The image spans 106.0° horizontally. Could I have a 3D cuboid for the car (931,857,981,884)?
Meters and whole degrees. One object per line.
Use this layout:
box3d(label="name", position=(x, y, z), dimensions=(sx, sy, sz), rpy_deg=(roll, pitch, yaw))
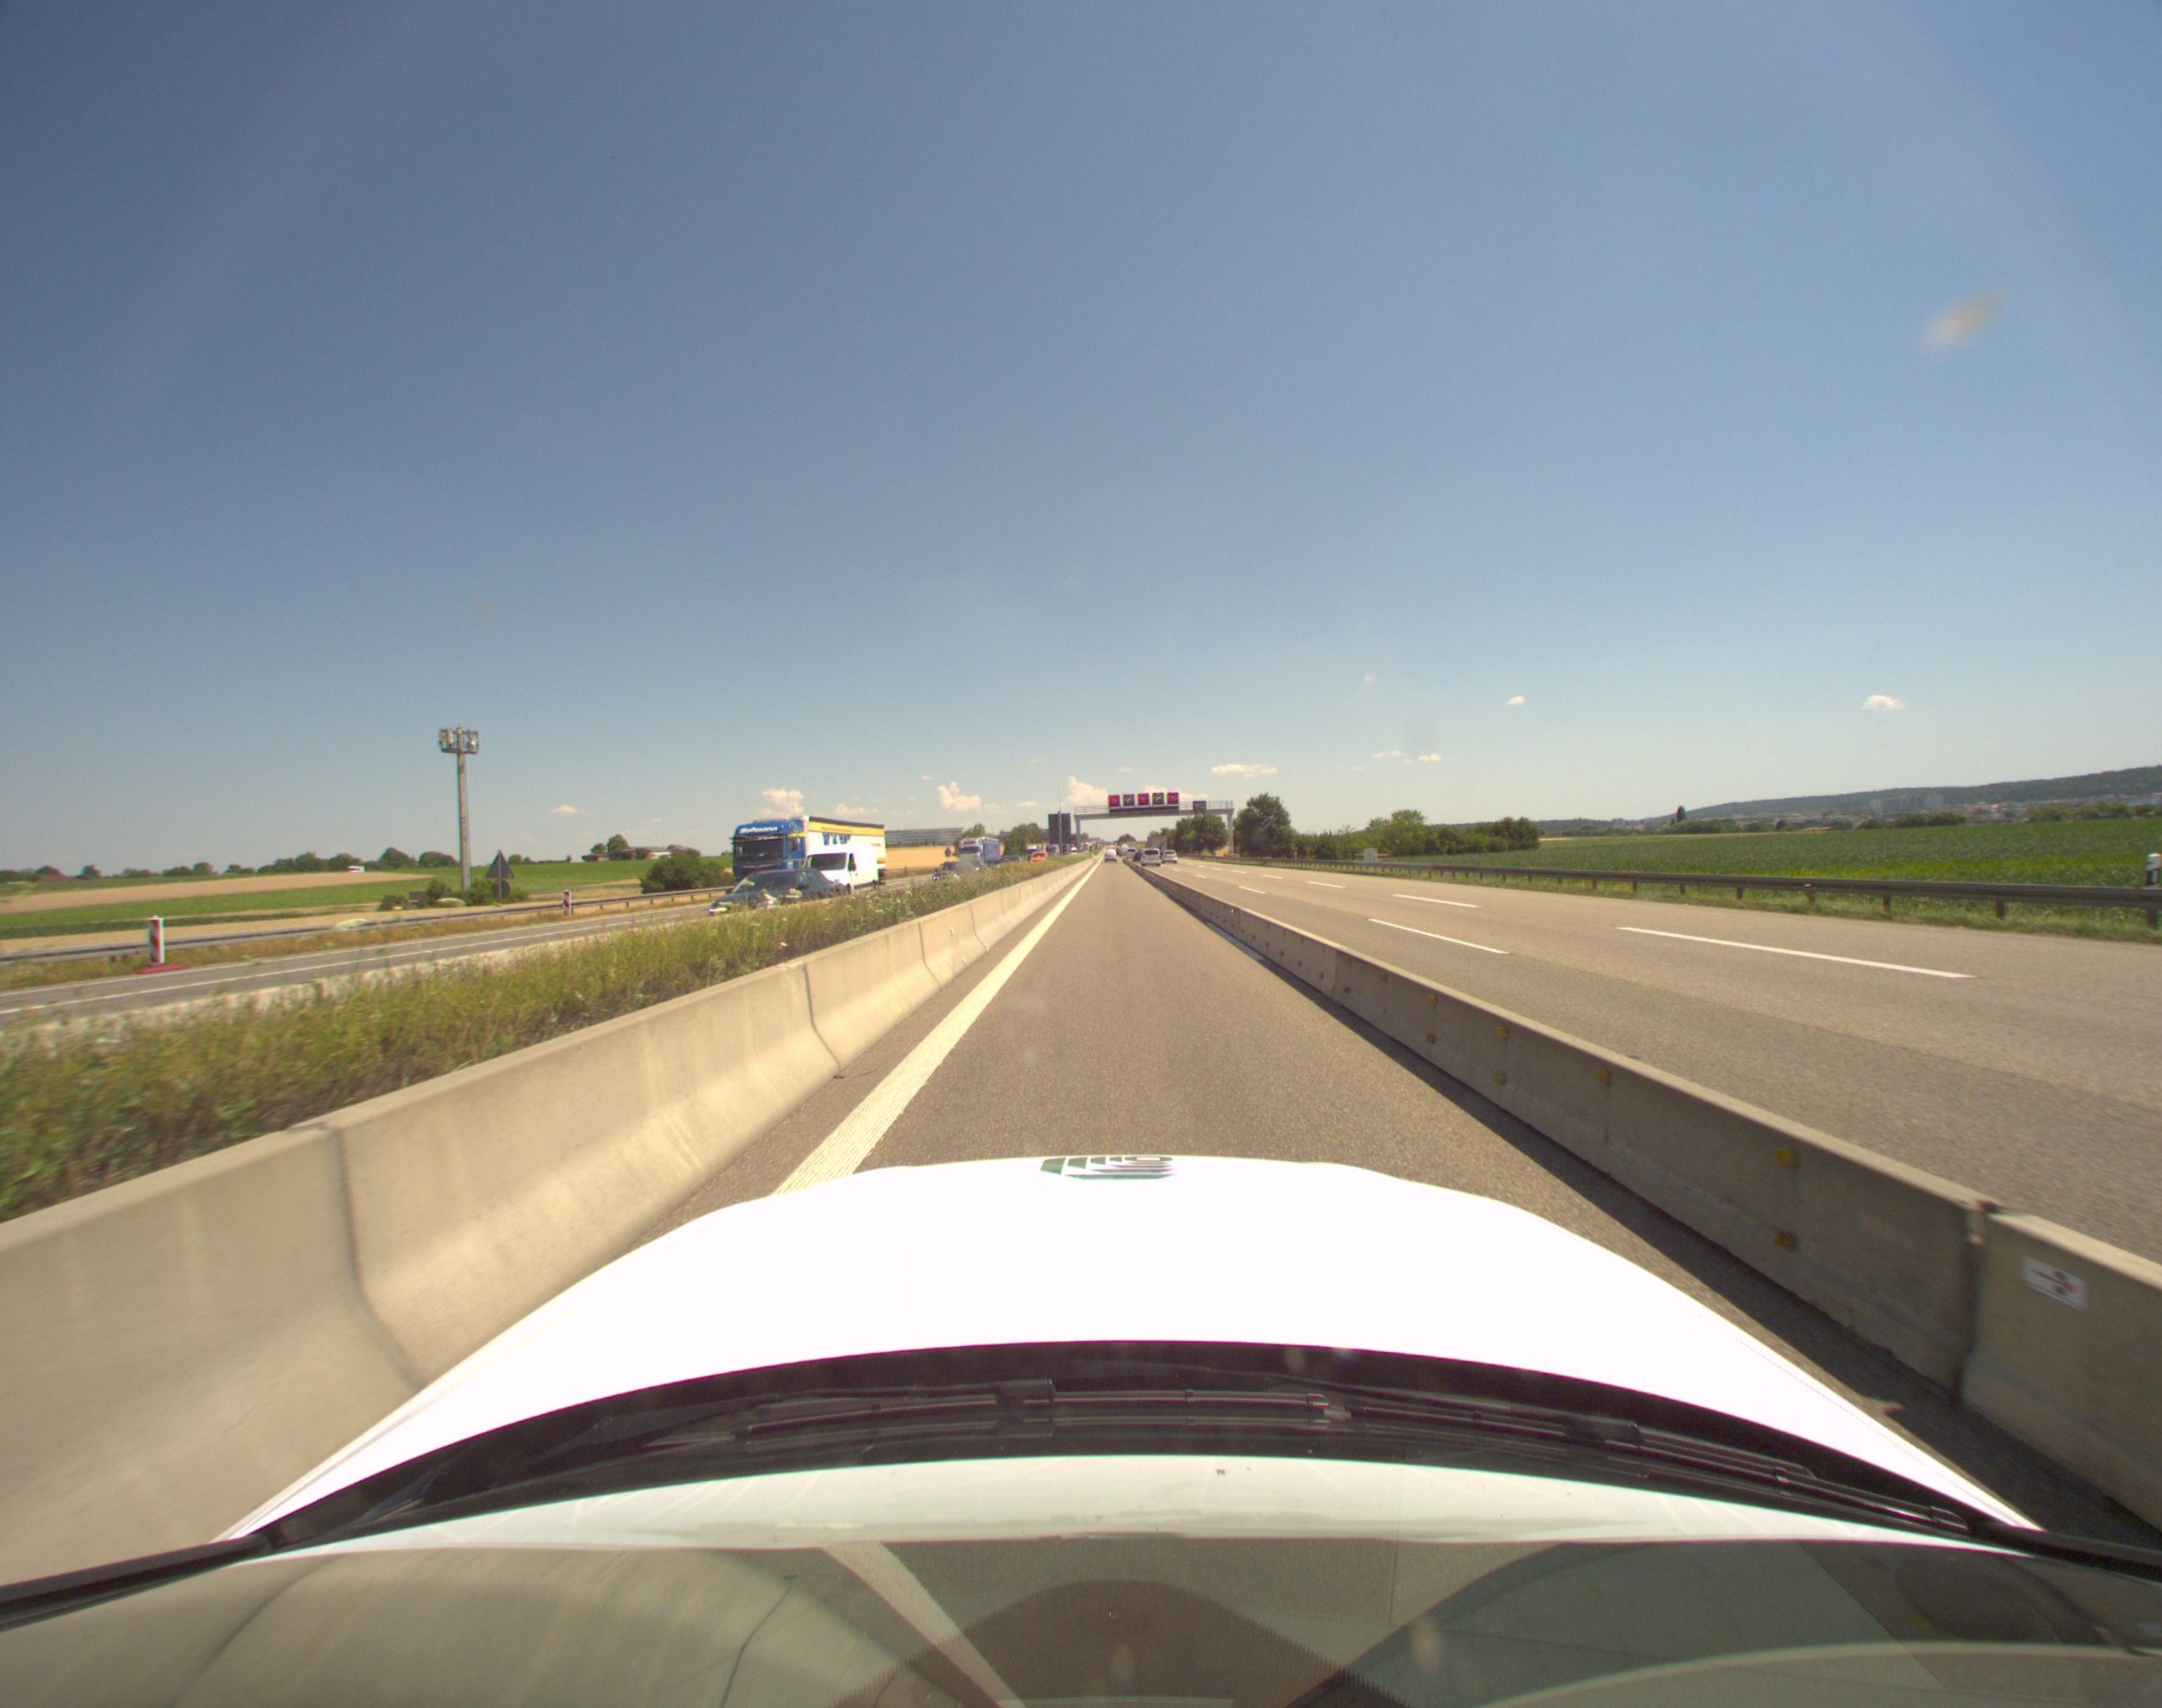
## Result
box3d(label="car", position=(-6.647, 0.886, 43.752), dimensions=(1.772, 1.335, 4.931), rpy_deg=(-1, -1, 1))

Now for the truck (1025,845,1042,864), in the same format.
box3d(label="truck", position=(-9.581, 0.133, 164.984), dimensions=(2.687, 3.587, 4.003), rpy_deg=(-4, 0, 3))

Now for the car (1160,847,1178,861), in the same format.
box3d(label="car", position=(11.166, 0.020, 103.630), dimensions=(1.986, 1.794, 4.001), rpy_deg=(-2, -1, 2))

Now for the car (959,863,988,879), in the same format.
box3d(label="car", position=(-9.185, 1.458, 69.915), dimensions=(1.741, 1.266, 4.435), rpy_deg=(-1, -1, 1))

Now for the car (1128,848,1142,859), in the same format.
box3d(label="car", position=(7.339, -0.098, 111.723), dimensions=(1.767, 1.447, 4.001), rpy_deg=(-2, -1, 2))

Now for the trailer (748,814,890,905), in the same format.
box3d(label="trailer", position=(-13.894, 0.247, 45.109), dimensions=(2.799, 4.128, 14.134), rpy_deg=(-3, 0, 2))

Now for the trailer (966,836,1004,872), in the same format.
box3d(label="trailer", position=(-11.876, -0.043, 101.886), dimensions=(2.377, 4.086, 14.105), rpy_deg=(-2, 0, 2))

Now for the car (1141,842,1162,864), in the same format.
box3d(label="car", position=(7.404, -0.087, 85.853), dimensions=(1.986, 2.120, 4.001), rpy_deg=(-2, -1, 2))

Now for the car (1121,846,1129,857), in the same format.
box3d(label="car", position=(10.181, -0.605, 189.334), dimensions=(1.767, 2.392, 4.001), rpy_deg=(-2, -1, 2))

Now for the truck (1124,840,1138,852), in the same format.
box3d(label="truck", position=(16.192, -2.528, 264.244), dimensions=(3.802, 3.904, 9.583), rpy_deg=(-2, 0, 2))

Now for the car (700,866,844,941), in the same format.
box3d(label="car", position=(-7.271, 1.095, 19.713), dimensions=(1.592, 1.469, 4.534), rpy_deg=(-3, 0, 1))

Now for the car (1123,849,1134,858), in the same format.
box3d(label="car", position=(8.487, -0.092, 145.796), dimensions=(1.767, 1.447, 4.001), rpy_deg=(-2, -1, 2))

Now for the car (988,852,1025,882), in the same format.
box3d(label="car", position=(-5.449, 0.938, 60.088), dimensions=(1.985, 2.013, 4.689), rpy_deg=(-2, 0, 3))

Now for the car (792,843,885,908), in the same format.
box3d(label="car", position=(-10.332, 0.848, 35.275), dimensions=(2.039, 2.501, 5.814), rpy_deg=(-3, 0, 1))

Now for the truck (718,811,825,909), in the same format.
box3d(label="truck", position=(-14.106, 0.244, 37.566), dimensions=(2.800, 4.128, 4.843), rpy_deg=(-3, 0, 1))

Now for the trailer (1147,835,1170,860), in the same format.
box3d(label="trailer", position=(13.194, -0.996, 138.915), dimensions=(3.265, 3.967, 9.116), rpy_deg=(-2, -1, 2))

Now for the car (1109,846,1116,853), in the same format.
box3d(label="car", position=(9.725, -1.356, 252.886), dimensions=(1.986, 1.835, 4.002), rpy_deg=(-1, -1, 2))

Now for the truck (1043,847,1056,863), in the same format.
box3d(label="truck", position=(-8.447, 0.251, 218.734), dimensions=(2.583, 4.238, 4.856), rpy_deg=(-5, 0, 1))

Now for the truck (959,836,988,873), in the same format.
box3d(label="truck", position=(-12.255, 0.032, 93.223), dimensions=(2.402, 4.086, 4.662), rpy_deg=(-2, 0, 2))

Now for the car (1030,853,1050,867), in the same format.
box3d(label="car", position=(-4.717, 0.719, 93.970), dimensions=(1.887, 1.578, 4.937), rpy_deg=(-1, -1, 1))

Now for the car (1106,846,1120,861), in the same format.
box3d(label="car", position=(4.592, -0.012, 117.351), dimensions=(1.986, 2.014, 4.001), rpy_deg=(-2, -1, 2))
